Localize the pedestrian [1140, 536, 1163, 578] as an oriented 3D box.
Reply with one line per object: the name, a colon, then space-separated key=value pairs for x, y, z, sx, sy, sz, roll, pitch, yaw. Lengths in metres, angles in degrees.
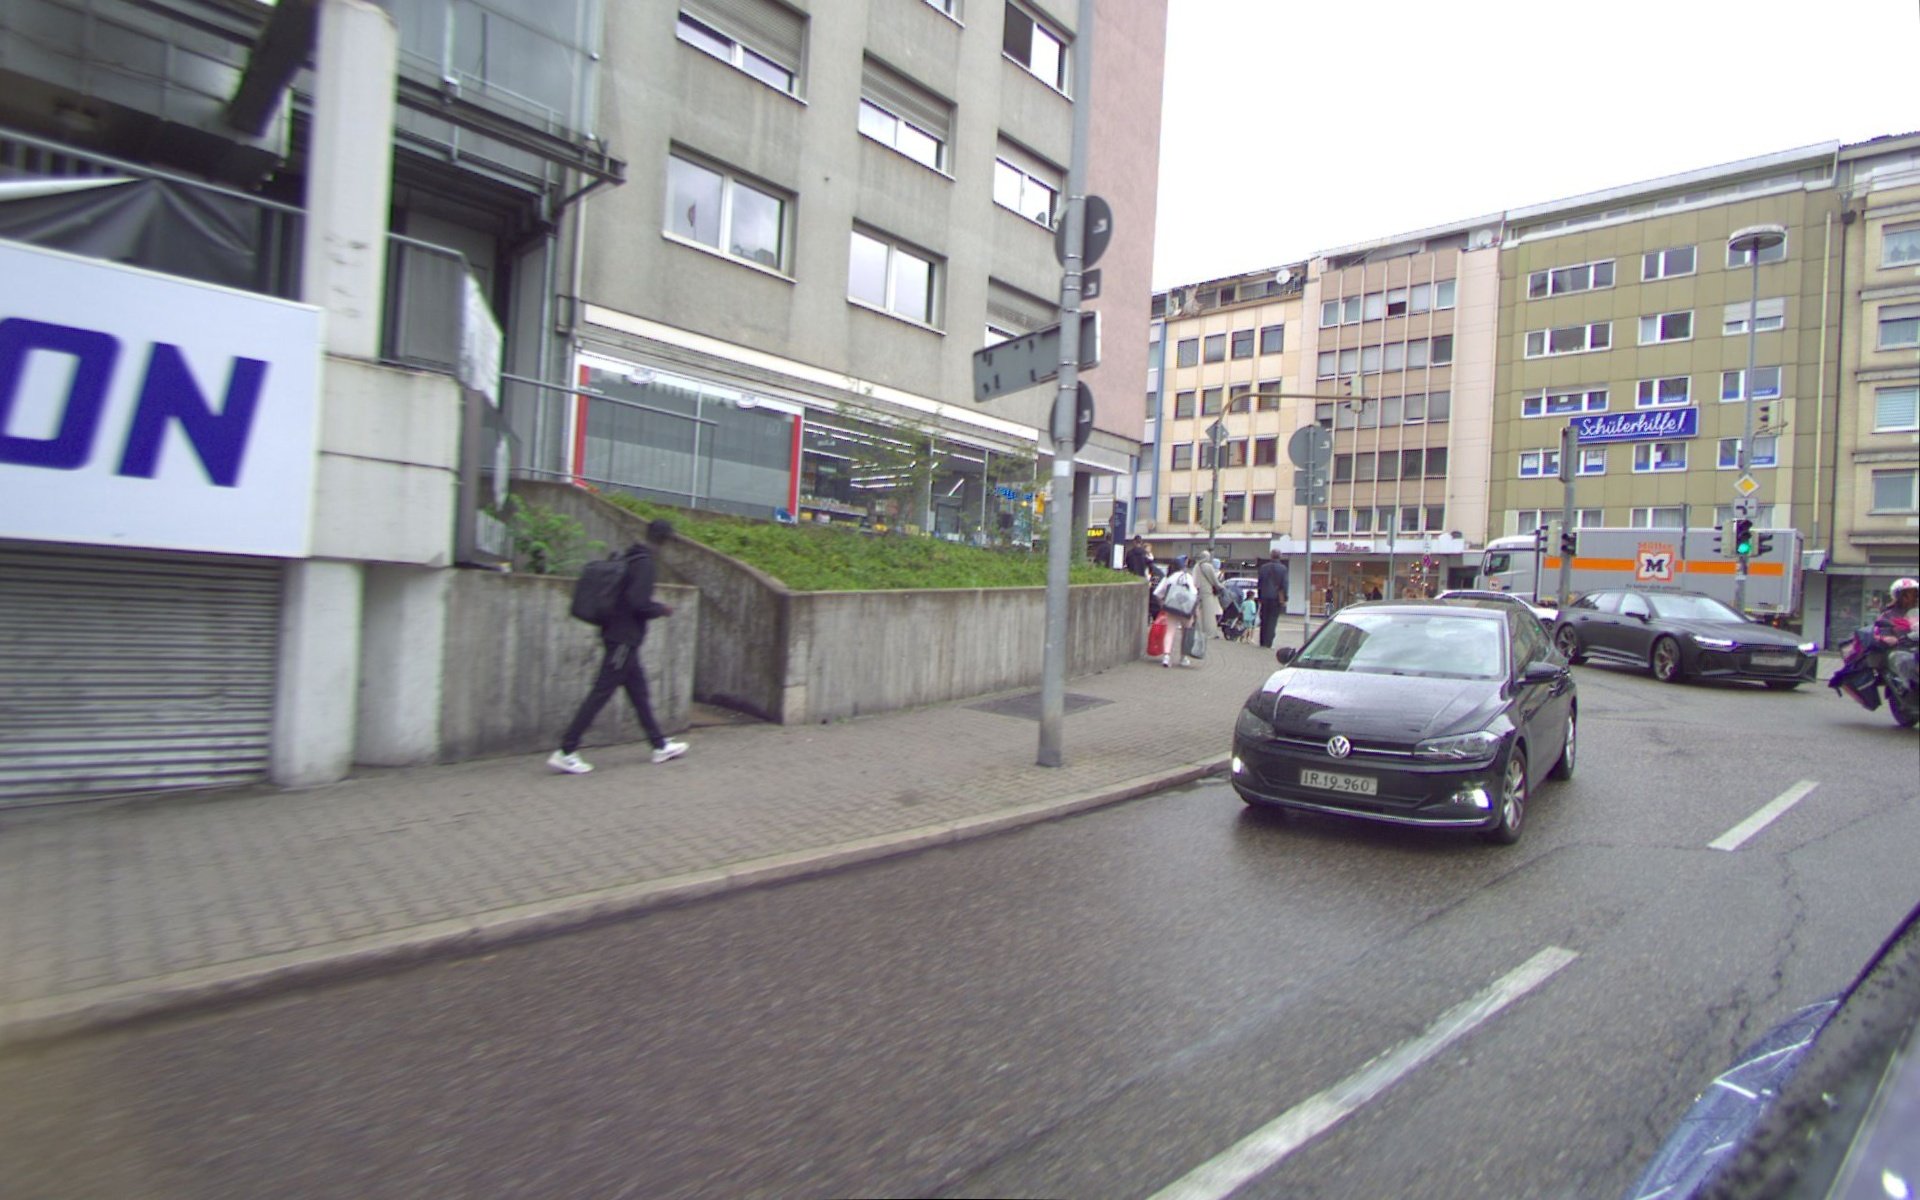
pedestrian: x=3.968 y=-0.891 z=20.970 sx=0.216 sy=0.857 sz=0.442 roll=1 pitch=2 yaw=-24

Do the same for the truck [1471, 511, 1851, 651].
truck: x=24.648 y=-0.845 z=36.361 sx=2.808 sy=4.387 sz=10.748 roll=2 pitch=2 yaw=-44

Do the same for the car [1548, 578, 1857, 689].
car: x=12.252 y=0.440 z=17.212 sx=1.965 sy=1.509 sz=4.729 roll=3 pitch=1 yaw=5

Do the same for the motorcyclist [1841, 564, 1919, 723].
motorcyclist: x=10.364 y=0.463 z=10.772 sx=1.075 sy=1.624 sz=0.951 roll=3 pitch=1 yaw=8

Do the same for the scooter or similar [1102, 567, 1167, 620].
scooter or similar: x=3.784 y=-0.136 z=21.977 sx=1.046 sy=0.997 sz=0.760 roll=9 pitch=3 yaw=44

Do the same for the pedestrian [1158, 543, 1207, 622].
pedestrian: x=4.962 y=-0.400 z=22.605 sx=0.731 sy=1.654 sz=0.597 roll=7 pitch=2 yaw=-4

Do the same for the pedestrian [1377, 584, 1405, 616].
pedestrian: x=20.497 y=0.001 z=48.134 sx=1.062 sy=1.502 sz=0.658 roll=2 pitch=1 yaw=43

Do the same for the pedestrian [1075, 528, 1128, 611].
pedestrian: x=3.146 y=-0.671 z=22.498 sx=0.822 sy=1.743 sz=0.618 roll=4 pitch=2 yaw=-37

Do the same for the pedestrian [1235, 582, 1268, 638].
pedestrian: x=5.575 y=0.190 z=19.384 sx=0.256 sy=1.012 sz=0.473 roll=8 pitch=-1 yaw=-23

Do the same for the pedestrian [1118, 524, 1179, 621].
pedestrian: x=3.913 y=-0.567 z=21.023 sx=0.823 sy=1.887 sz=0.658 roll=6 pitch=2 yaw=-41

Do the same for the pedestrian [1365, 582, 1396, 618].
pedestrian: x=20.290 y=-0.004 z=48.869 sx=1.083 sy=1.716 sz=0.940 roll=2 pitch=1 yaw=43

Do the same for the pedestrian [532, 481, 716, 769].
pedestrian: x=-2.340 y=0.155 z=7.088 sx=0.599 sy=1.863 sz=0.996 roll=4 pitch=1 yaw=45

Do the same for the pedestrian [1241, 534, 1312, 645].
pedestrian: x=5.764 y=-0.198 z=18.472 sx=0.605 sy=1.888 sz=0.789 roll=7 pitch=3 yaw=-30

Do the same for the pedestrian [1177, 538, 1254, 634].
pedestrian: x=4.967 y=-0.275 z=19.694 sx=1.018 sy=1.744 sz=0.840 roll=5 pitch=0 yaw=-29

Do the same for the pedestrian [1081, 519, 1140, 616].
pedestrian: x=3.182 y=-0.691 z=21.371 sx=0.805 sy=1.955 sz=0.732 roll=4 pitch=1 yaw=-37

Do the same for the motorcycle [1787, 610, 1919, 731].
motorcycle: x=10.371 y=0.750 z=10.870 sx=1.292 sy=1.149 sz=2.180 roll=3 pitch=2 yaw=8

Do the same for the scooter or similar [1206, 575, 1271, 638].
scooter or similar: x=5.491 y=0.128 z=19.967 sx=0.953 sy=1.123 sz=0.656 roll=5 pitch=0 yaw=-26

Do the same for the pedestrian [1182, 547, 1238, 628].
pedestrian: x=5.526 y=-0.279 z=22.368 sx=0.837 sy=1.656 sz=0.532 roll=9 pitch=1 yaw=44

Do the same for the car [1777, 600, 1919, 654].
car: x=31.067 y=0.911 z=34.973 sx=1.677 sy=1.582 sz=4.194 roll=2 pitch=2 yaw=-43

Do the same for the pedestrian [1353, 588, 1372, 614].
pedestrian: x=19.971 y=0.025 z=50.185 sx=0.718 sy=1.265 sz=0.528 roll=2 pitch=1 yaw=43

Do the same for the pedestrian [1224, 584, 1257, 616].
pedestrian: x=5.527 y=0.004 z=19.949 sx=0.364 sy=0.578 sz=0.459 roll=5 pitch=0 yaw=-26

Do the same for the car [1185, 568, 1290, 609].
car: x=14.236 y=-0.617 z=52.132 sx=1.824 sy=1.850 sz=4.952 roll=2 pitch=2 yaw=-44

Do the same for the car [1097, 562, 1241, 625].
car: x=5.713 y=-0.217 z=28.161 sx=1.833 sy=1.566 sz=4.113 roll=1 pitch=2 yaw=-23

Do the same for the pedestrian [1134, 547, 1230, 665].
pedestrian: x=3.210 y=0.062 z=14.612 sx=1.048 sy=1.549 sz=1.019 roll=6 pitch=3 yaw=25

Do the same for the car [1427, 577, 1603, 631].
car: x=17.668 y=0.100 z=32.372 sx=4.618 sy=1.433 sz=1.769 roll=4 pitch=1 yaw=44

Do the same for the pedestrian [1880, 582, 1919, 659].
pedestrian: x=19.038 y=0.402 z=20.407 sx=0.694 sy=1.506 sz=0.560 roll=1 pitch=3 yaw=-41

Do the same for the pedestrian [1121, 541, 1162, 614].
pedestrian: x=4.472 y=-0.566 z=25.005 sx=0.615 sy=1.712 sz=0.784 roll=5 pitch=1 yaw=-10

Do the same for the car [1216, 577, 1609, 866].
car: x=3.503 y=0.602 z=7.431 sx=1.735 sy=1.448 sz=3.827 roll=2 pitch=3 yaw=39
